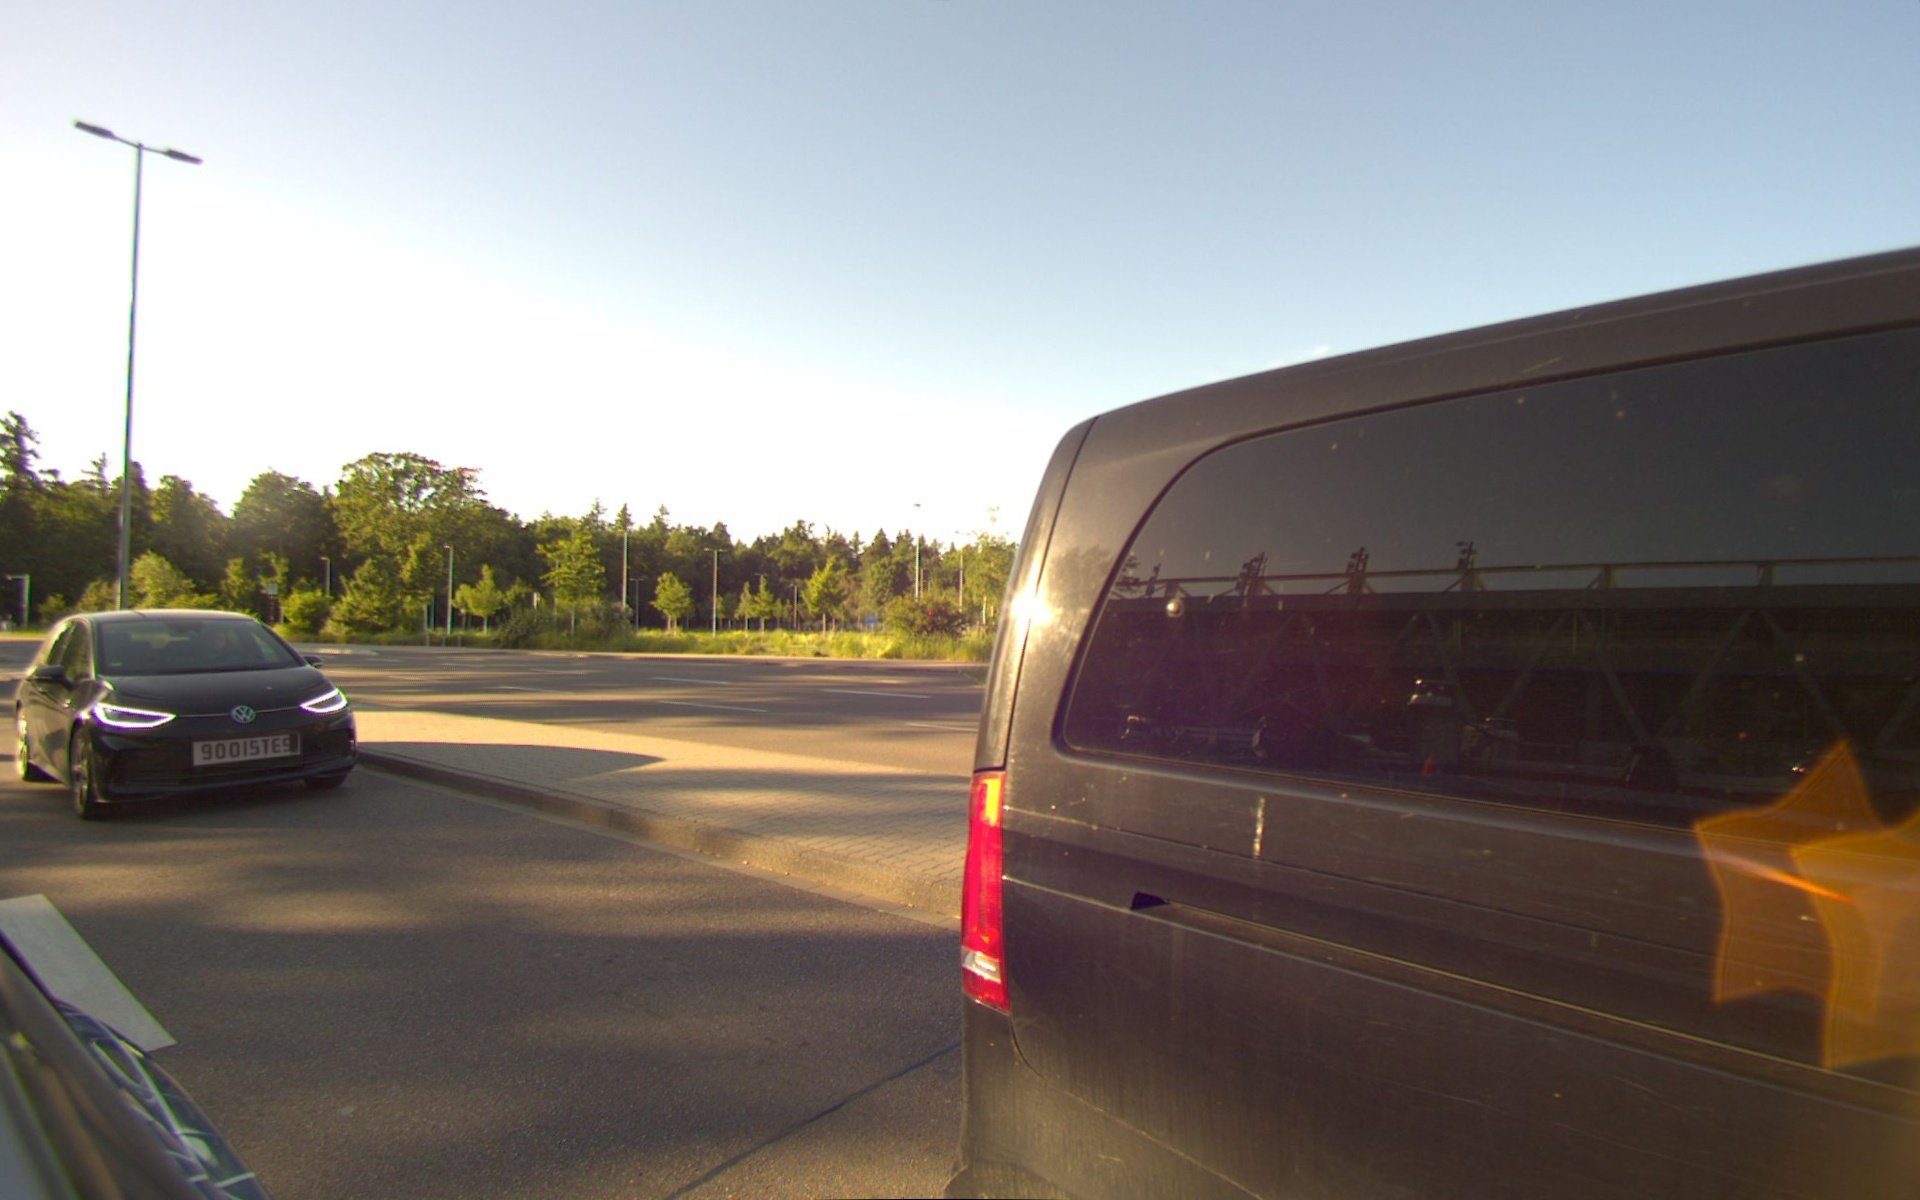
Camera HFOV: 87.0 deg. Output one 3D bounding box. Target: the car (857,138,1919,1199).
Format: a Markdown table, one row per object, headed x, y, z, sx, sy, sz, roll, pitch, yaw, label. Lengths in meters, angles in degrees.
| x | y | z | sx | sy | sz | roll | pitch | yaw | label |
| --- | --- | --- | --- | --- | --- | --- | --- | --- | --- |
| 2.331 | 0.487 | 0.745 | 4.869 | 1.870 | 1.888 | -4 | -2 | 40 | car |

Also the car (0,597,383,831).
| x | y | z | sx | sy | sz | roll | pitch | yaw | label |
| --- | --- | --- | --- | --- | --- | --- | --- | --- | --- |
| -6.803 | 0.781 | 8.784 | 3.997 | 1.548 | 1.859 | -1 | 0 | 40 | car |
